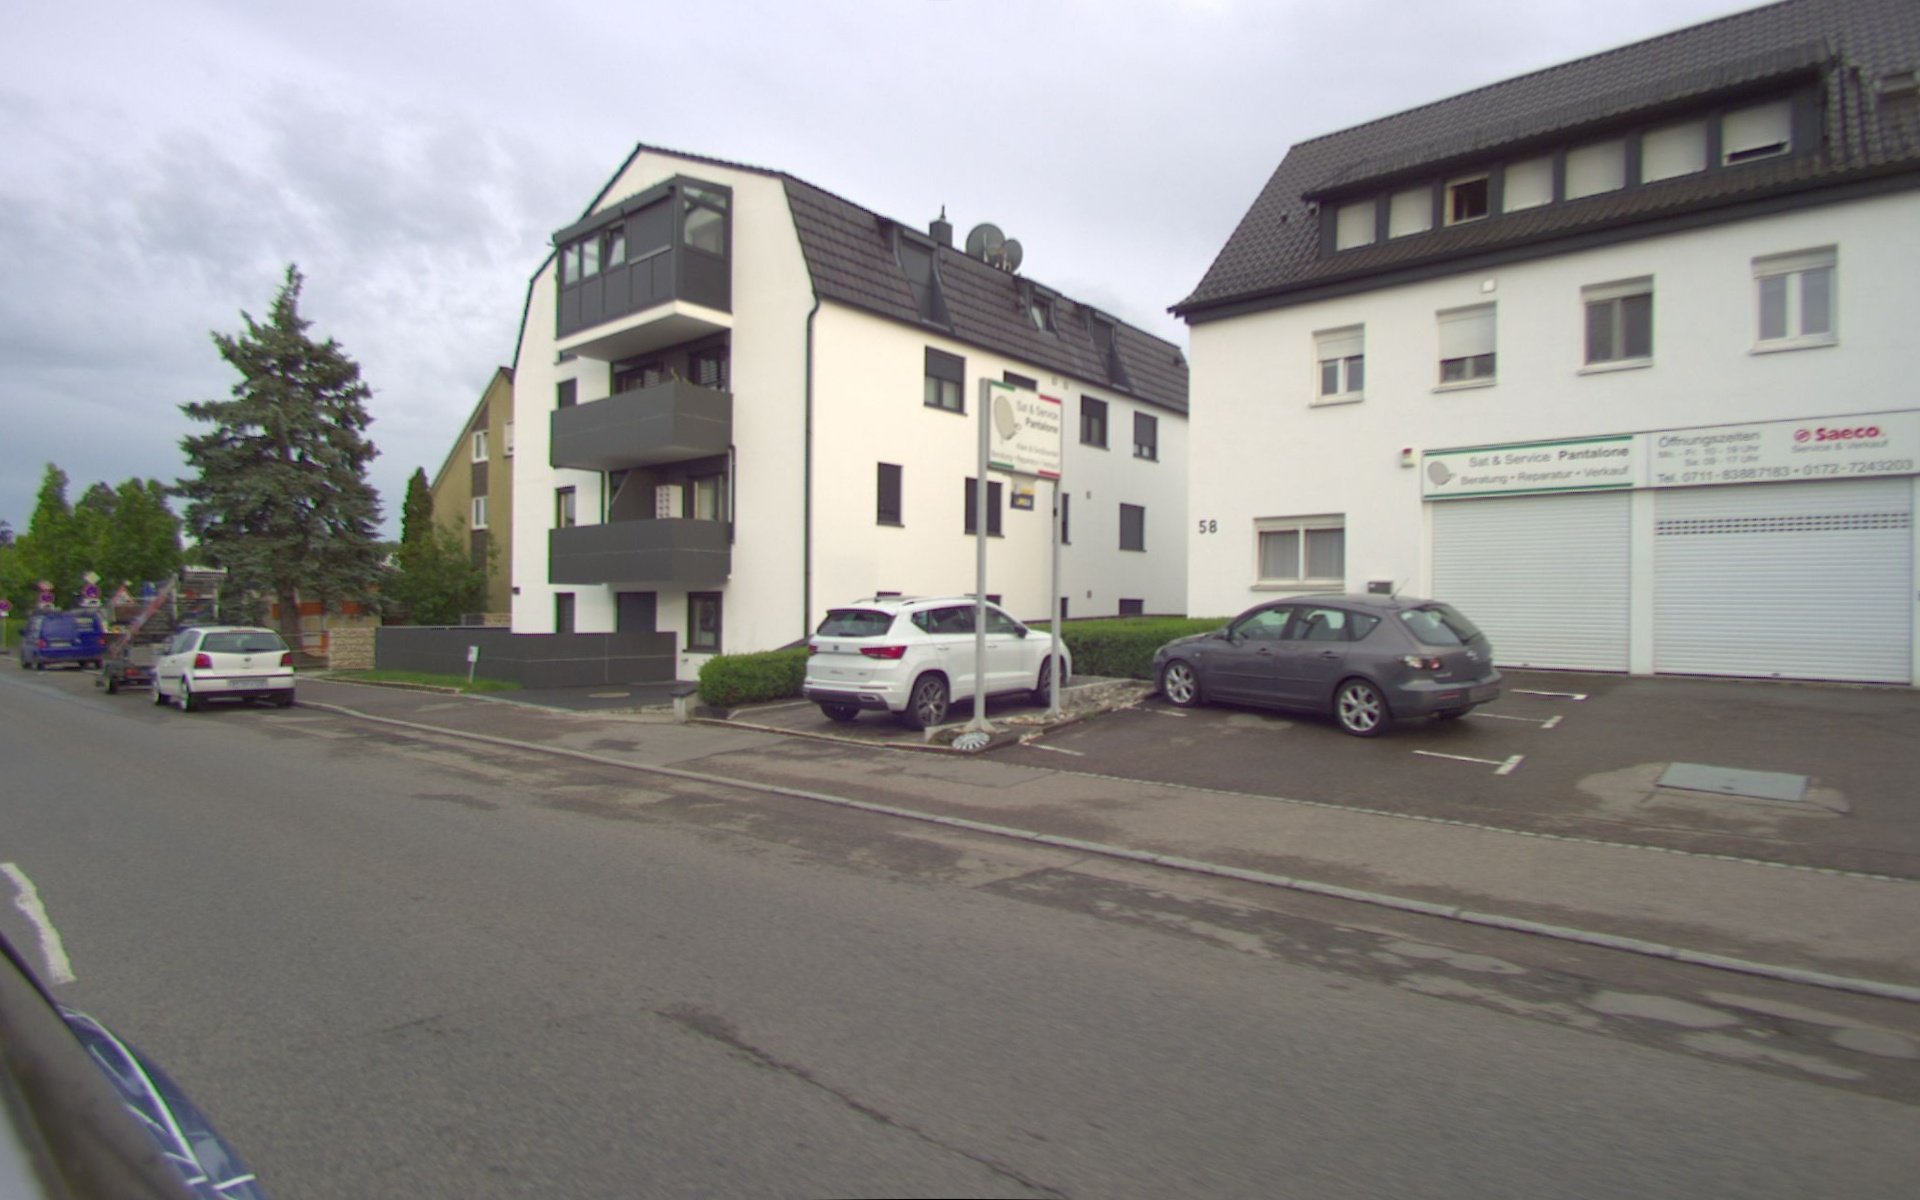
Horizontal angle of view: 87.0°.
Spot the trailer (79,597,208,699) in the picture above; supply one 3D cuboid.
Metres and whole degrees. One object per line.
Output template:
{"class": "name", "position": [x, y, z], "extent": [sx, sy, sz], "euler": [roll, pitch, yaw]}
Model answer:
{"class": "trailer", "position": [-18.858, 1.020, 23.318], "extent": [4.005, 2.143, 1.699], "euler": [-1, 0, 42]}

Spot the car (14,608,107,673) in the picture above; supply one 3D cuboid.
{"class": "car", "position": [-31.935, 1.408, 35.890], "extent": [4.754, 2.140, 1.972], "euler": [-1, -2, 43]}

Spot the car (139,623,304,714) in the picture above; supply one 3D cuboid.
{"class": "car", "position": [-13.866, 1.199, 18.927], "extent": [3.869, 1.516, 1.717], "euler": [-1, -2, 42]}

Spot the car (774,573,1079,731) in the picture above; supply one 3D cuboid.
{"class": "car", "position": [-0.315, 0.576, 13.747], "extent": [1.998, 1.659, 3.948], "euler": [-1, 2, 39]}

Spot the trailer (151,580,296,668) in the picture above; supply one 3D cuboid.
{"class": "trailer", "position": [-27.146, 0.839, 37.366], "extent": [2.168, 3.069, 4.006], "euler": [-1, 0, 42]}

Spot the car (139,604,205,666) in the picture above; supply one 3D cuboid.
{"class": "car", "position": [-32.156, 1.421, 41.277], "extent": [3.594, 2.425, 1.549], "euler": [-2, -2, 43]}

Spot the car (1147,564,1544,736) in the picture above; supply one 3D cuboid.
{"class": "car", "position": [4.302, 0.449, 11.873], "extent": [1.795, 1.541, 4.011], "euler": [-6, 4, -34]}
